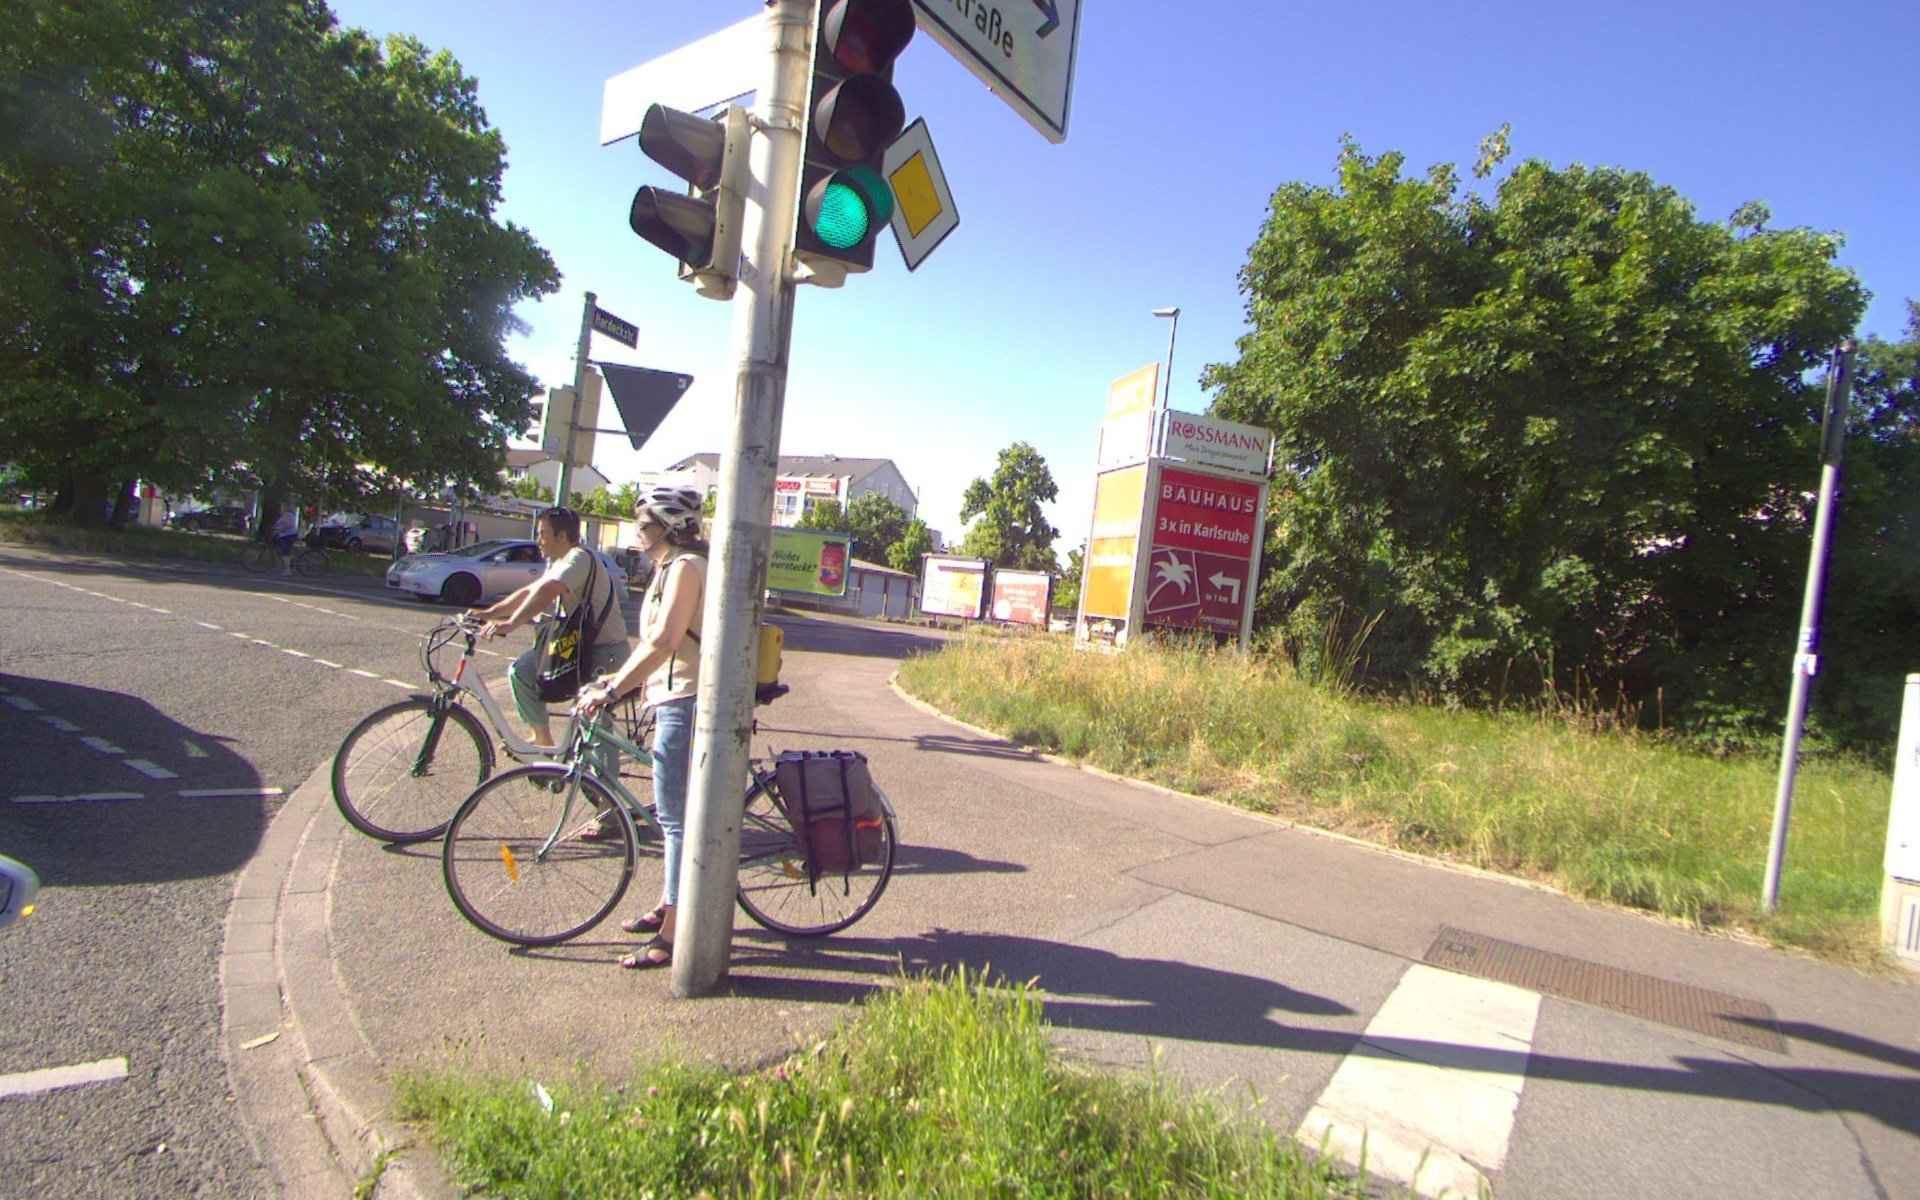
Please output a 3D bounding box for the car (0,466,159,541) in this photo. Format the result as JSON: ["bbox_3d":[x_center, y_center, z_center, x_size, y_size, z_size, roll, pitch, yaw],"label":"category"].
[{"bbox_3d":[-37.280,-4.018,41.914,1.966,2.123,5.650,7,-2,29],"label":"car"}]

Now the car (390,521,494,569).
[{"bbox_3d":[-25.336,-2.665,49.343,1.965,1.625,3.998,7,-2,28],"label":"car"}]

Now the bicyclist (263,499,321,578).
[{"bbox_3d":[-15.164,-1.391,22.843,0.534,1.662,0.827,7,1,35],"label":"bicyclist"}]

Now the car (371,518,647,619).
[{"bbox_3d":[-9.224,-0.587,20.938,1.817,1.507,4.866,6,-1,41],"label":"car"}]

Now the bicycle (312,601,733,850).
[{"bbox_3d":[-2.172,0.620,5.151,1.849,1.090,0.527,4,0,-31],"label":"bicycle"}]

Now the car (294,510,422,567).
[{"bbox_3d":[-21.389,-2.136,35.932,1.726,1.392,4.005,7,-2,6],"label":"car"}]

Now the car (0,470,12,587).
[{"bbox_3d":[-6.598,-0.136,5.269,1.752,1.509,4.247,7,0,-37],"label":"car"}]

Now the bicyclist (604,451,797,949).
[{"bbox_3d":[-0.998,0.362,3.812,0.577,1.718,0.525,3,1,-20],"label":"bicyclist"}]

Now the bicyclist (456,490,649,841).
[{"bbox_3d":[-2.101,0.328,5.177,0.798,1.656,0.539,3,1,-29],"label":"bicyclist"}]

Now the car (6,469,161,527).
[{"bbox_3d":[-33.337,-3.848,38.399,1.765,1.350,4.004,7,-2,19],"label":"car"}]

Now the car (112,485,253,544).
[{"bbox_3d":[-29.826,-3.235,38.738,1.503,1.529,4.003,7,-2,20],"label":"car"}]

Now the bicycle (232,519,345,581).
[{"bbox_3d":[-15.200,-1.122,22.831,0.521,1.156,2.019,7,1,36],"label":"bicycle"}]

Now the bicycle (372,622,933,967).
[{"bbox_3d":[-1.081,0.680,3.787,1.842,1.090,0.529,3,0,-21],"label":"bicycle"}]
